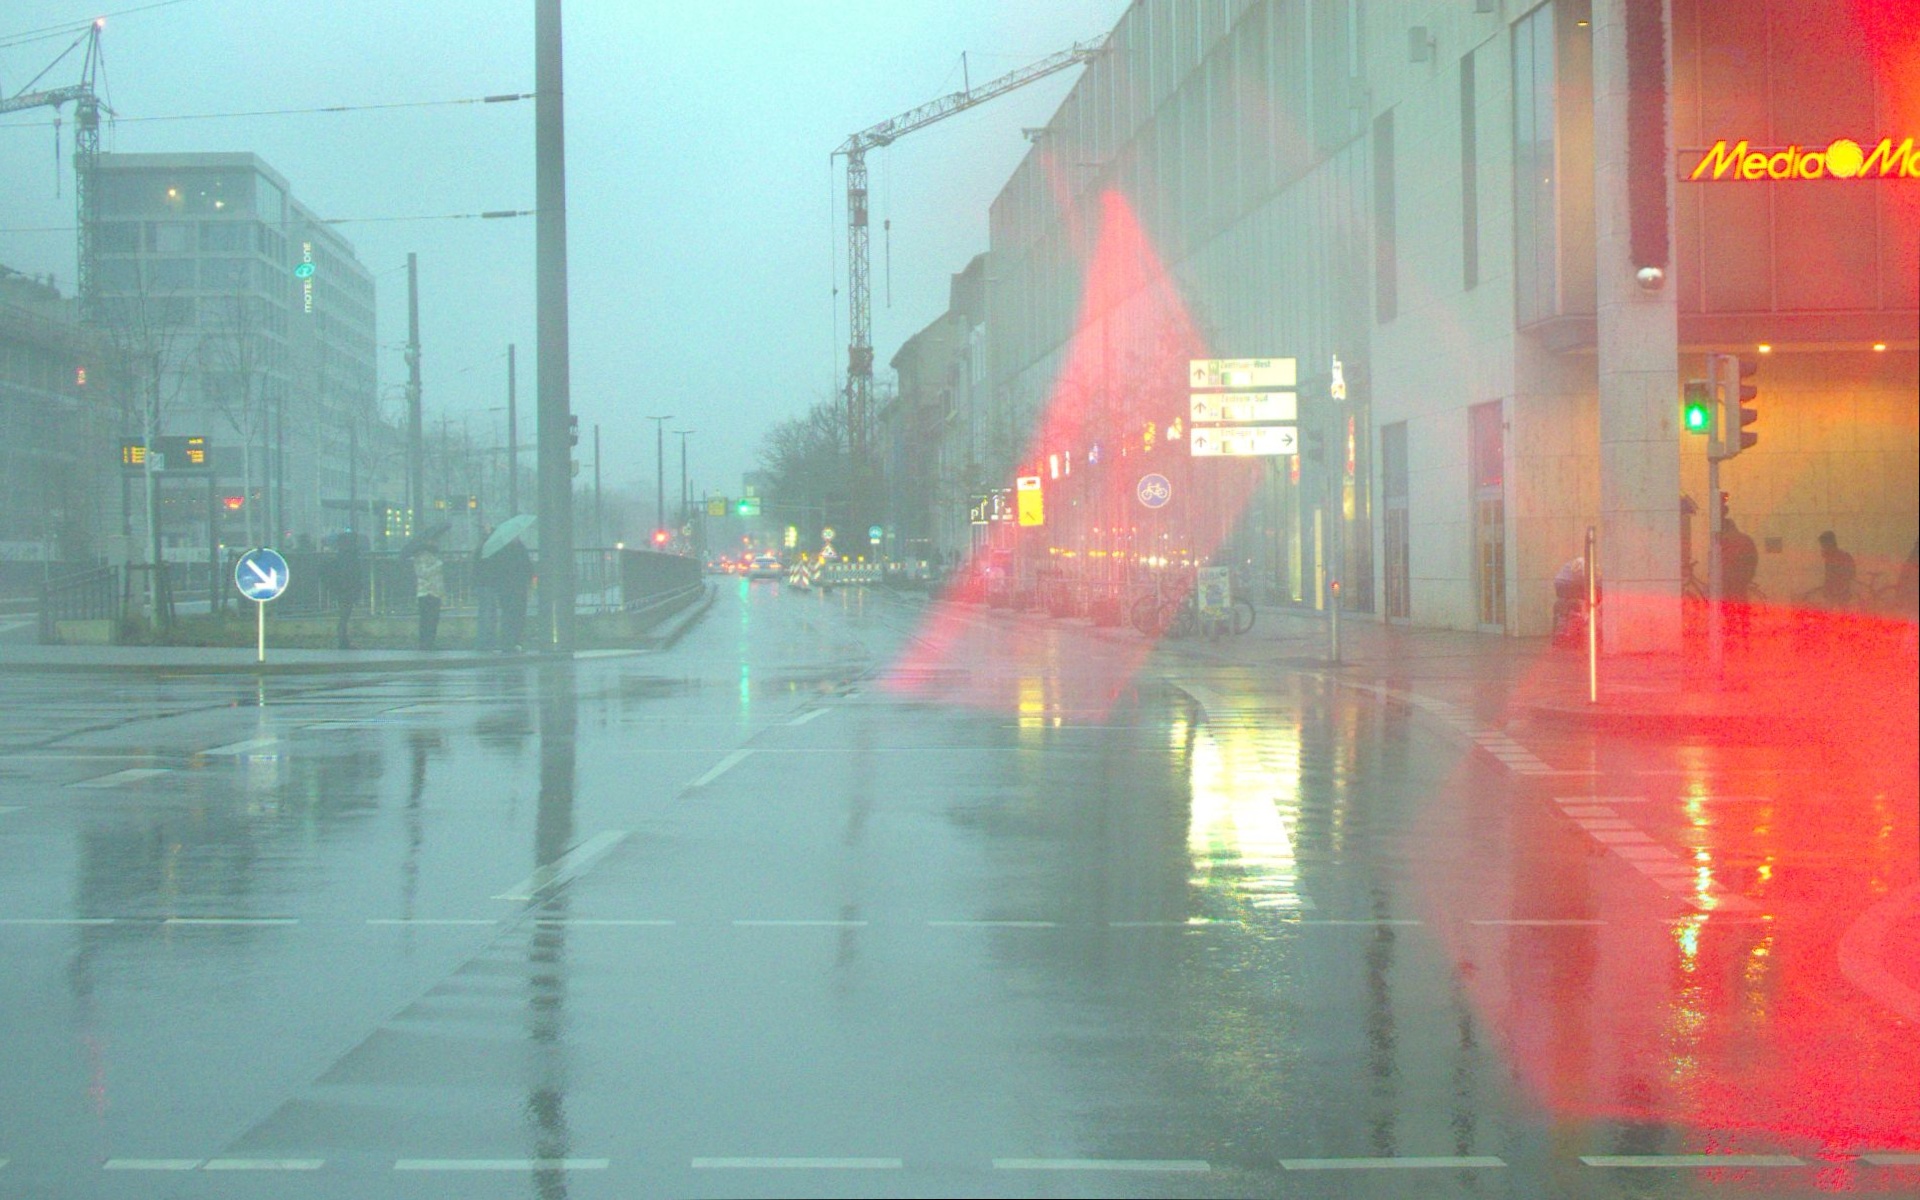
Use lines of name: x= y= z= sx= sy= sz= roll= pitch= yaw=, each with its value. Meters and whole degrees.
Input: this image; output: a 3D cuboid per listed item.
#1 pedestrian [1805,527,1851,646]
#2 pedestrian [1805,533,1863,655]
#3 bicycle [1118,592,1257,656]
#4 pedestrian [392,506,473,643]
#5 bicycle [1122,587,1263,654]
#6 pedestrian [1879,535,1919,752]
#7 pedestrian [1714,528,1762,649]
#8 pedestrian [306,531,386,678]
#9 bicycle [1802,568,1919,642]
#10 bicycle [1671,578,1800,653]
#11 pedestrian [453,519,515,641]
pedestrian: x=12.176 y=-0.188 z=48.231 sx=0.485 sy=1.657 sz=0.457 roll=-1 pitch=0 yaw=30
pedestrian: x=12.340 y=-0.093 z=48.536 sx=0.636 sy=1.703 sz=0.573 roll=-1 pitch=0 yaw=-1
bicycle: x=4.115 y=0.432 z=62.297 sx=2.425 sy=1.095 sz=0.712 roll=-1 pitch=0 yaw=-2
pedestrian: x=-7.128 y=-0.342 z=46.466 sx=0.821 sy=1.825 sz=0.786 roll=1 pitch=0 yaw=-31
bicycle: x=4.157 y=0.369 z=61.553 sx=2.442 sy=1.150 sz=0.674 roll=-1 pitch=0 yaw=-1
pedestrian: x=10.858 y=0.487 z=38.830 sx=0.714 sy=2.433 sz=0.758 roll=1 pitch=0 yaw=-1
pedestrian: x=11.284 y=-0.171 z=49.873 sx=0.600 sy=1.739 sz=0.524 roll=1 pitch=0 yaw=8
pedestrian: x=-8.466 y=0.058 z=47.395 sx=0.785 sy=2.007 sz=0.726 roll=1 pitch=1 yaw=42
bicycle: x=13.349 y=0.073 z=50.817 sx=1.646 sy=1.066 sz=0.525 roll=1 pitch=0 yaw=-4
bicycle: x=11.419 y=0.227 z=50.653 sx=1.767 sy=1.066 sz=0.525 roll=1 pitch=0 yaw=-5
pedestrian: x=-6.641 y=-0.278 z=47.952 sx=0.612 sy=1.680 sz=0.577 roll=1 pitch=1 yaw=42
